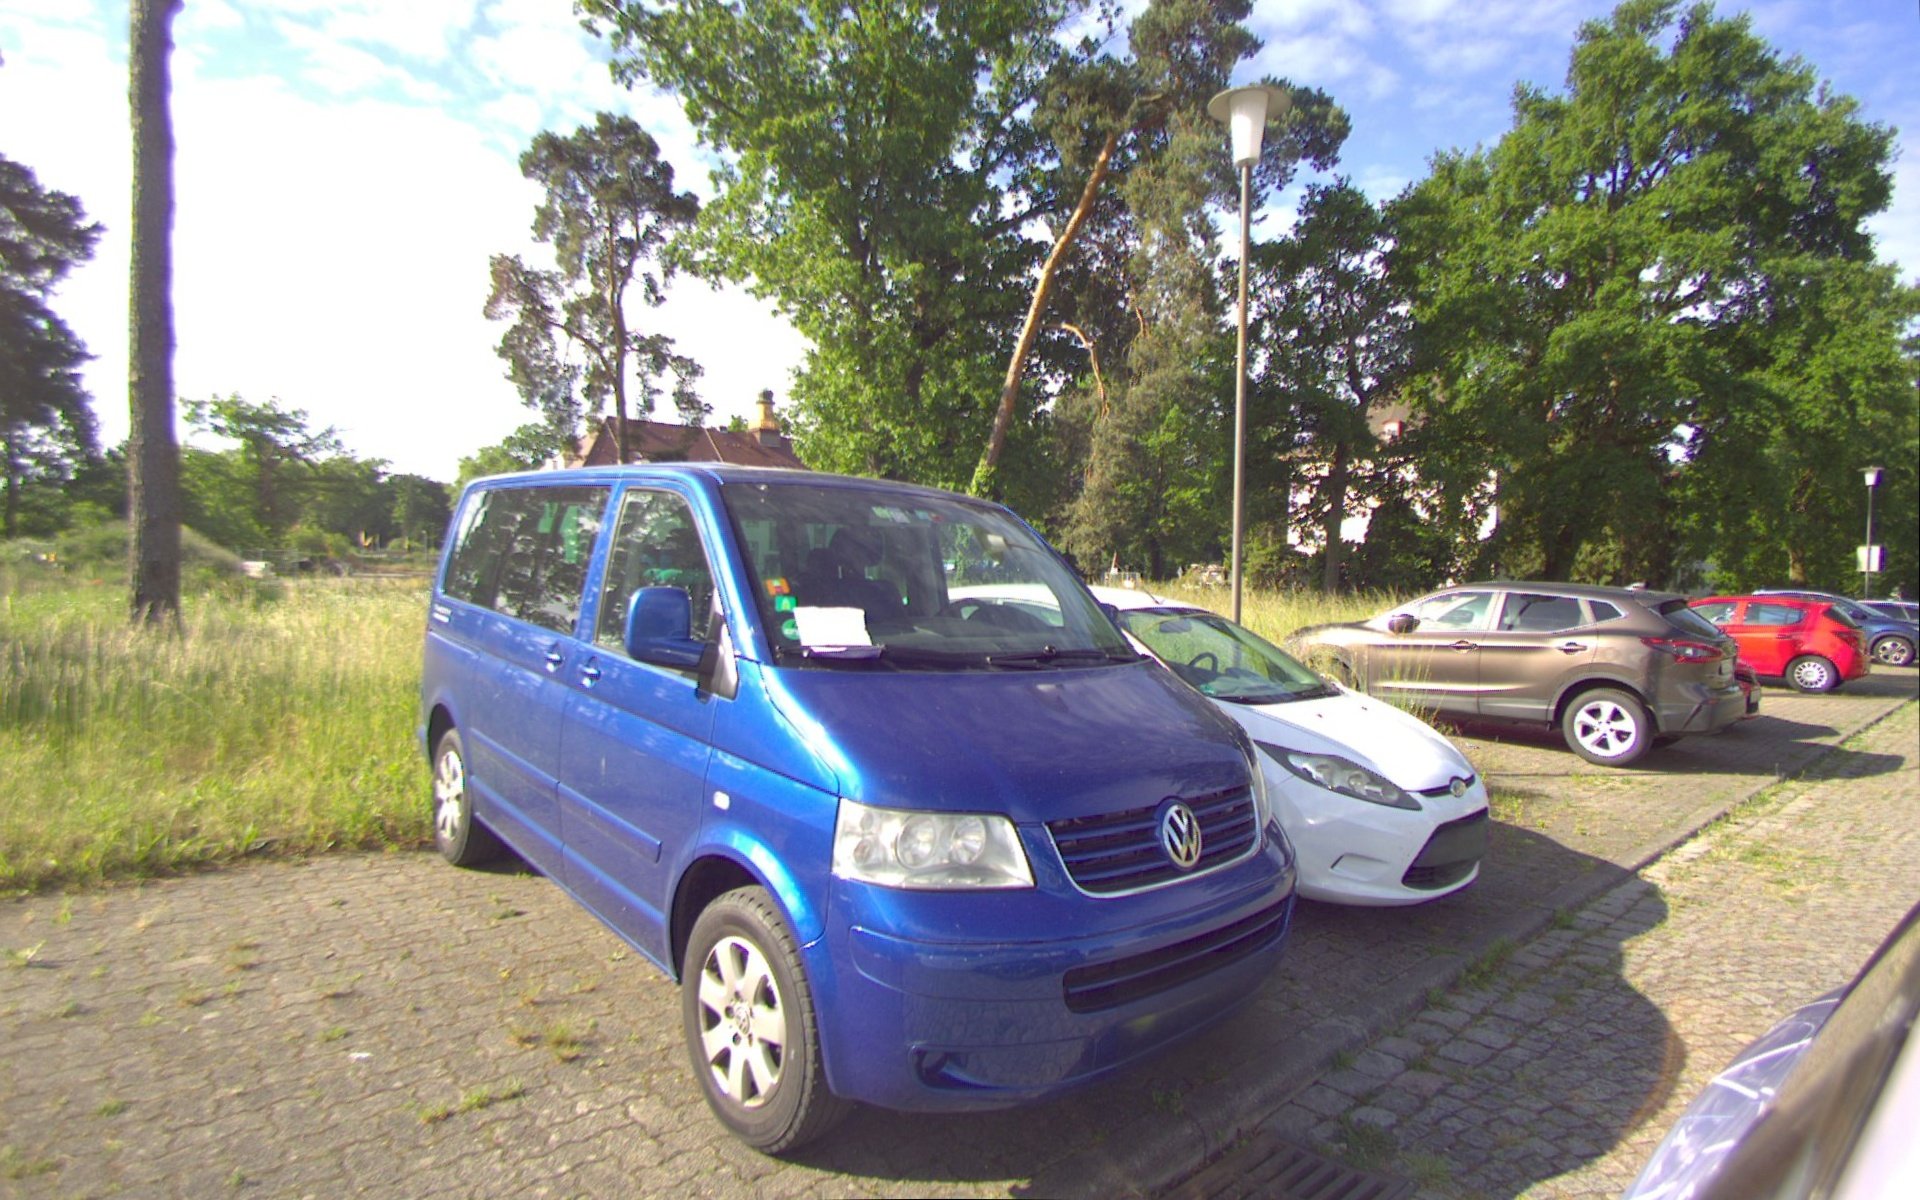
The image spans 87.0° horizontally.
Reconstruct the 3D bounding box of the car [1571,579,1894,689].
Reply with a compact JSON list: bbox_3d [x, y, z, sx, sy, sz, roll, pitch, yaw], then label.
[{"bbox_3d":[13.061,0.482,17.303,1.821,1.477,4.094,1,3,-42],"label":"car"}]

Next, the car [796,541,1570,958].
[{"bbox_3d":[0.984,0.493,6.295,1.906,1.596,4.407,0,3,-41],"label":"car"}]

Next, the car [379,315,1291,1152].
[{"bbox_3d":[-1.113,0.184,4.788,1.965,1.959,4.708,0,3,-41],"label":"car"}]

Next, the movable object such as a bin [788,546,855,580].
[{"bbox_3d":[-14.417,-3.841,105.648,6.336,3.342,2.863,-1,0,6],"label":"movable object such as a bin"}]

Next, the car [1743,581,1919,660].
[{"bbox_3d":[20.942,0.459,23.464,1.821,1.576,4.094,1,3,-42],"label":"car"}]

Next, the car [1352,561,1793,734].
[{"bbox_3d":[7.311,0.407,12.399,1.903,1.617,4.231,-1,4,-43],"label":"car"}]

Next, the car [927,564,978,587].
[{"bbox_3d":[-0.632,-2.164,89.716,4.318,1.963,1.905,-1,0,-40],"label":"car"}]

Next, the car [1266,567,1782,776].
[{"bbox_3d":[5.551,0.511,10.366,1.903,1.617,4.231,-1,3,-43],"label":"car"}]

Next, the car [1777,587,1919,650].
[{"bbox_3d":[24.330,0.486,26.670,1.754,1.440,4.094,1,3,-42],"label":"car"}]
